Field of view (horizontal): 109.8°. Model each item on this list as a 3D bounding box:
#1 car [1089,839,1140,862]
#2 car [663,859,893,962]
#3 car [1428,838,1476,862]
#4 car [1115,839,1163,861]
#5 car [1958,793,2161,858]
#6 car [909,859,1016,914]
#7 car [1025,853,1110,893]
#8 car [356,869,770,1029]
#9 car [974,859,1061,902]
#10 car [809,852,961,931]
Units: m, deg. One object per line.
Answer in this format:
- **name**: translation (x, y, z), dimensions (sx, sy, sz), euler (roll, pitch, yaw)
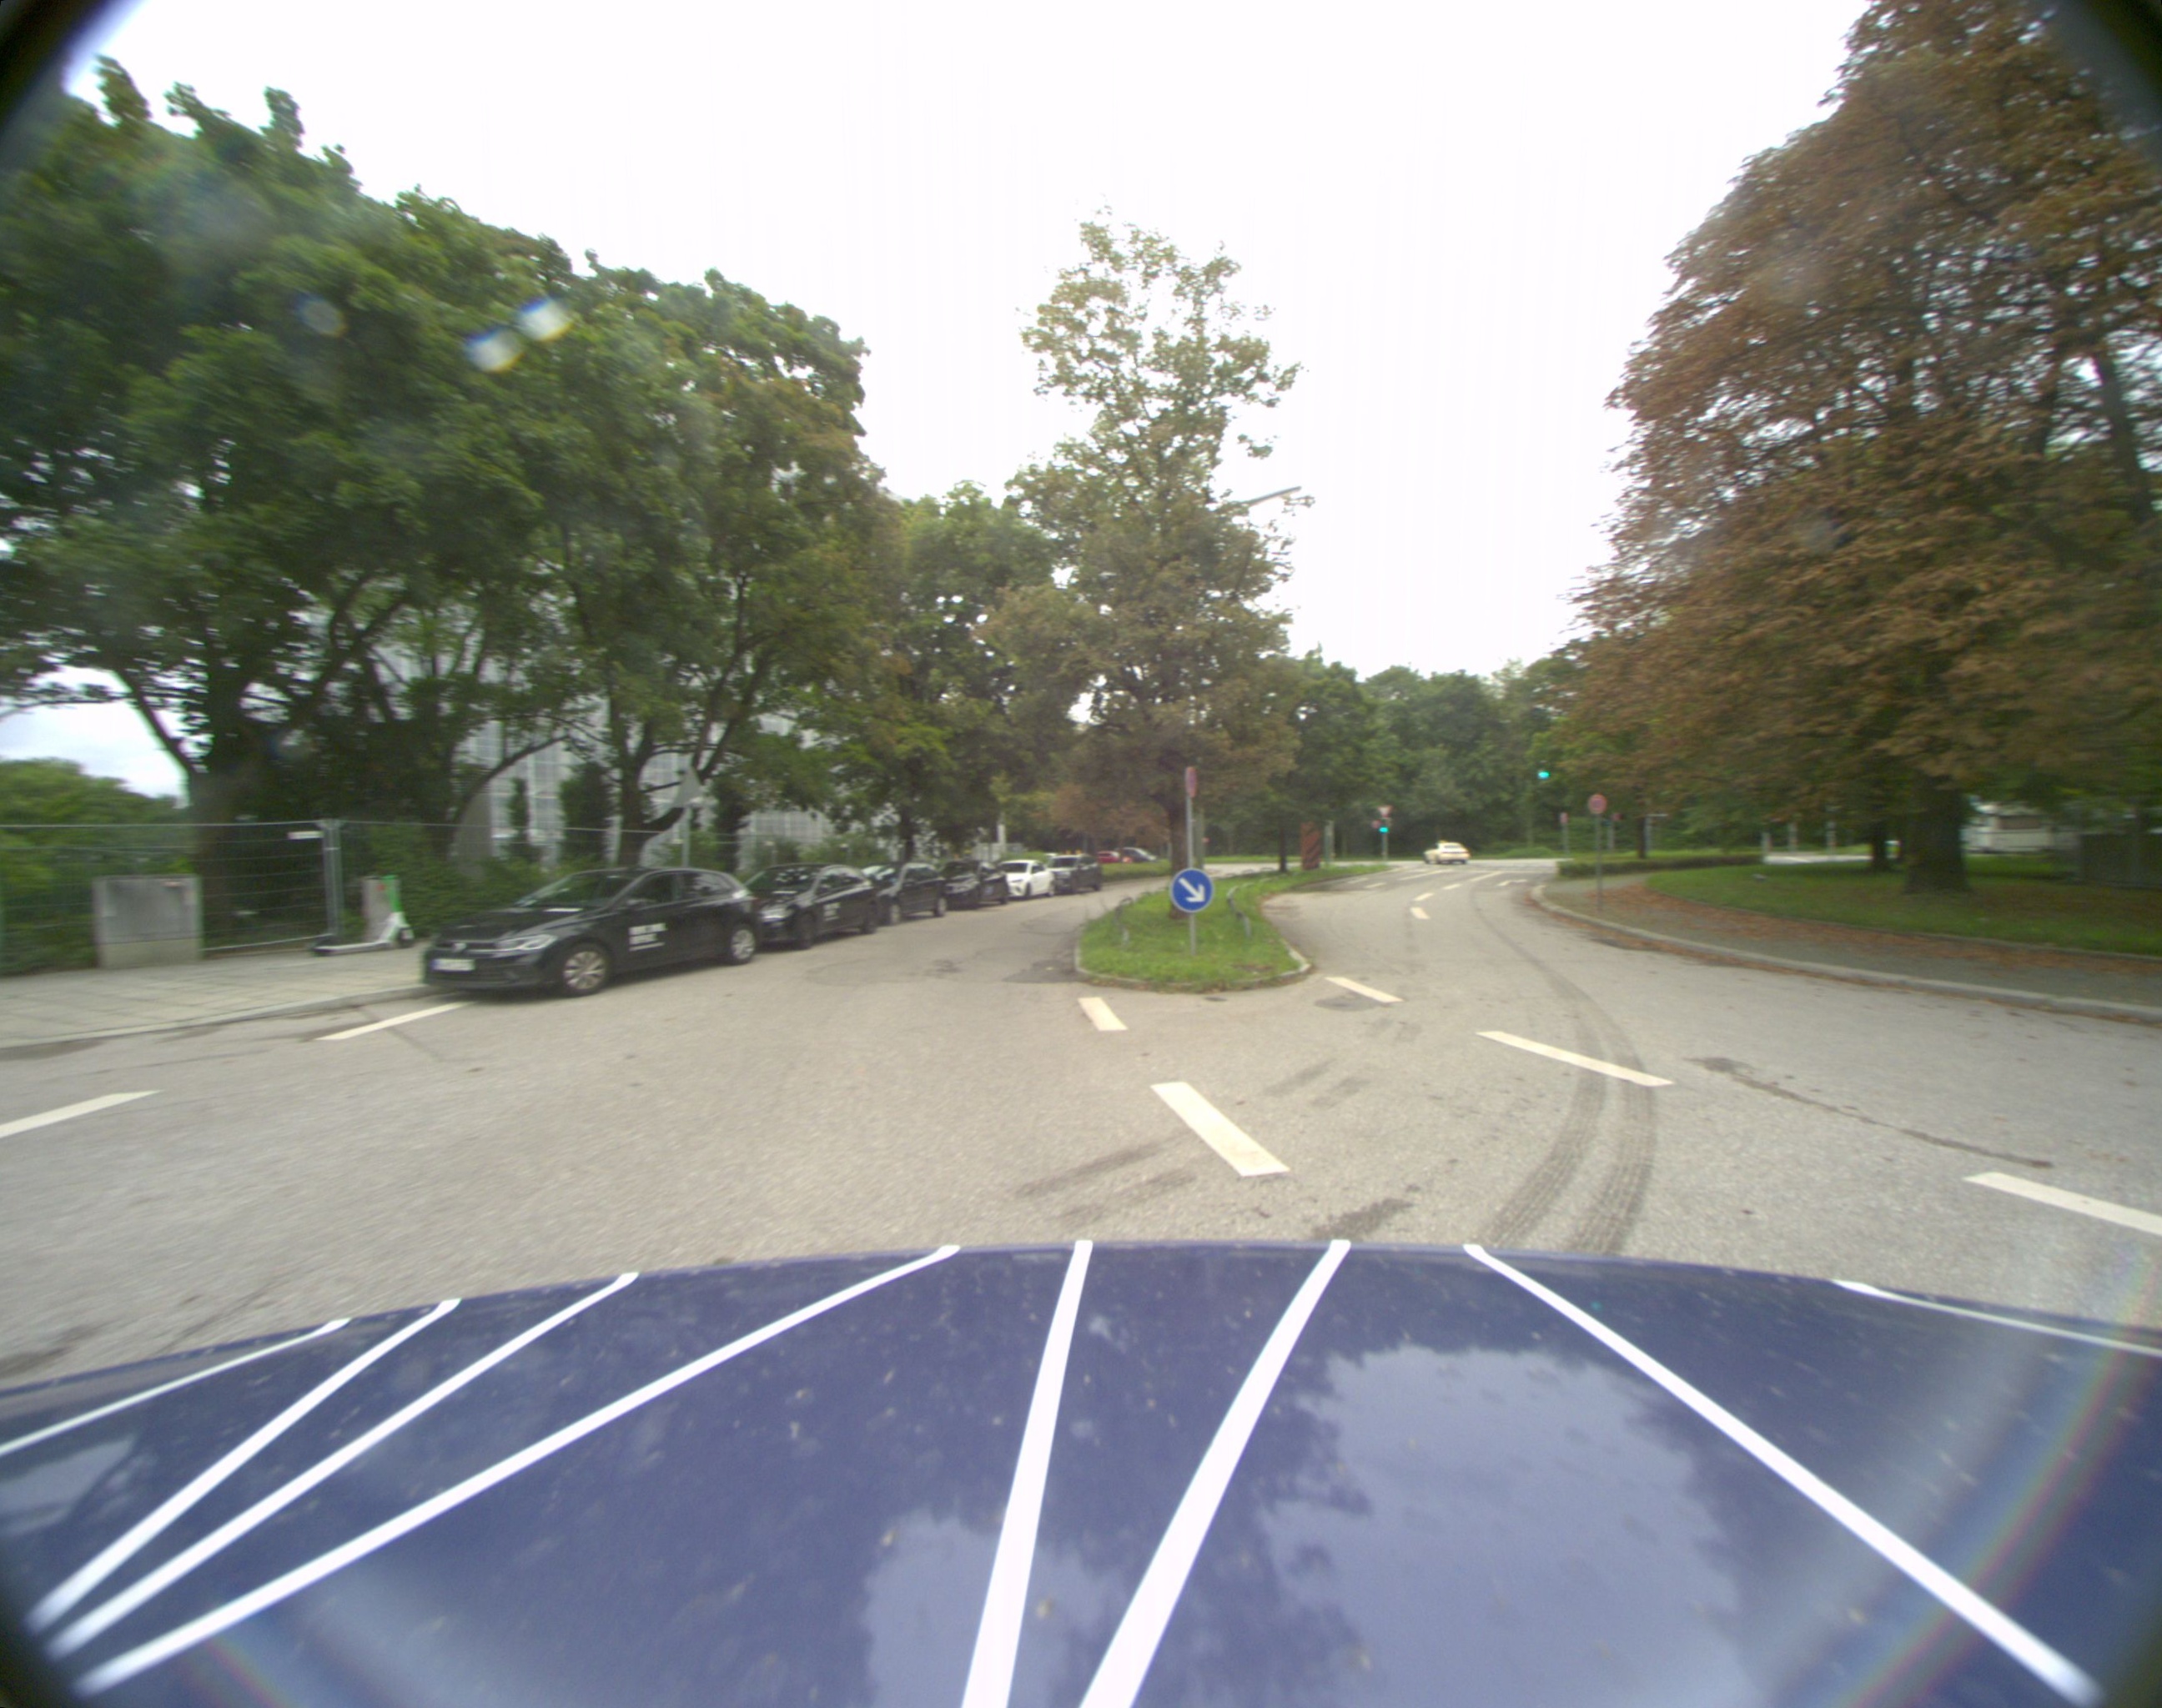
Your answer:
- **car**: translation (3.062, -0.297, 69.745), dimensions (4.146, 2.002, 2.004), euler (-1, 1, 32)
- **car**: translation (-5.241, 0.907, 13.816), dimensions (1.997, 1.532, 4.003), euler (-1, 0, 11)
- **car**: translation (25.382, -0.254, 52.154), dimensions (1.890, 1.536, 4.858), euler (-1, 0, 13)
- **car**: translation (5.507, -0.358, 71.832), dimensions (3.989, 2.002, 2.004), euler (-1, 1, 32)
- **car**: translation (44.718, -1.241, 34.823), dimensions (5.581, 2.718, 2.081), euler (-1, 1, 37)
- **car**: translation (-3.462, 0.917, 23.003), dimensions (1.837, 1.452, 4.010), euler (-2, 0, 13)
- **car**: translation (-0.477, 0.801, 32.197), dimensions (1.887, 1.596, 4.404), euler (-1, -1, 24)
- **car**: translation (-6.090, 0.975, 9.645), dimensions (1.996, 1.424, 4.046), euler (1, 1, 13)
- **car**: translation (-2.215, 0.922, 27.895), dimensions (1.798, 1.375, 4.223), euler (-1, 0, 15)
- **car**: translation (-4.616, 0.807, 18.560), dimensions (1.996, 1.696, 4.004), euler (1, 1, 13)
